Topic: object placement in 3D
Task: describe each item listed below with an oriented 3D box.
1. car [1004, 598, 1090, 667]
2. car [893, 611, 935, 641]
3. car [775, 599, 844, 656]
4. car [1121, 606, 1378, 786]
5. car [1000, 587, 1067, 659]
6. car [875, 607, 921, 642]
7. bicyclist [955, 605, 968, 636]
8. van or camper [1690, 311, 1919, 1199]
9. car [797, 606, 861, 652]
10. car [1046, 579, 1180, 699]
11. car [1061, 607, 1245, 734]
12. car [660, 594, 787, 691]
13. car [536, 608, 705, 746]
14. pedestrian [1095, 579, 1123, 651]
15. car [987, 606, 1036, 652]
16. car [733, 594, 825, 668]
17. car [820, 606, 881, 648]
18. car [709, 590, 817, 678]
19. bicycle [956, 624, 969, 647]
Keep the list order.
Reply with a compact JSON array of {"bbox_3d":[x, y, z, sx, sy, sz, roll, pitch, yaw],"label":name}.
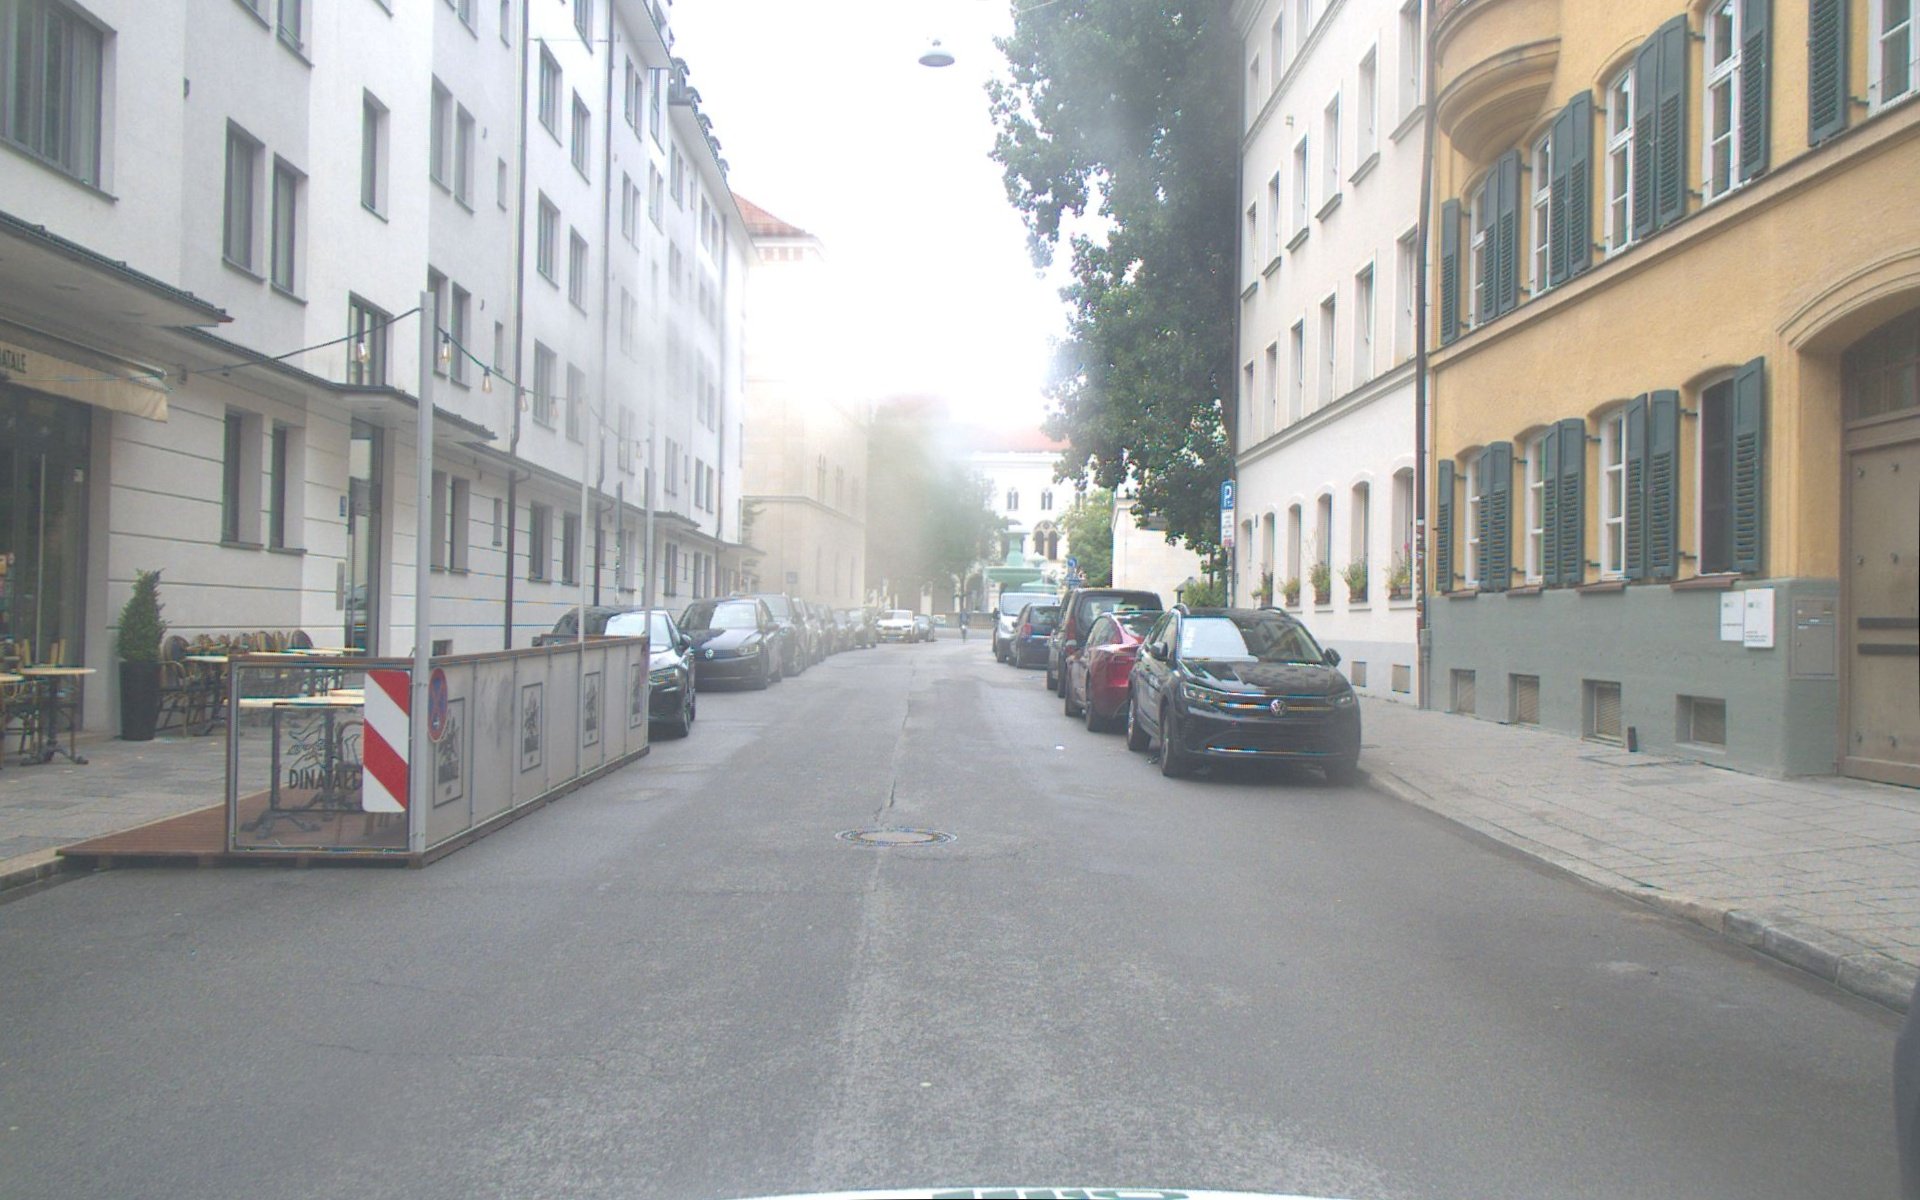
[{"bbox_3d":[2.176,0.803,42.298,1.771,1.628,4.213,2,0,-3],"label":"car"},{"bbox_3d":[-2.300,1.331,83.864,1.662,1.417,4.213,-1,-1,5],"label":"car"},{"bbox_3d":[-4.694,0.826,52.032,1.834,1.687,4.079,-1,0,-1],"label":"car"},{"bbox_3d":[2.635,0.814,15.930,1.710,1.489,3.999,1,0,-1],"label":"car"},{"bbox_3d":[2.091,0.654,48.216,1.843,1.958,4.875,1,0,1],"label":"car"},{"bbox_3d":[-2.878,1.159,77.496,1.741,1.562,4.213,-1,-1,3],"label":"car"},{"bbox_3d":[0.096,1.082,87.207,0.643,1.578,0.887,0,-1,2],"label":"bicyclist"},{"bbox_3d":[2.884,0.471,1.554,1.953,2.049,5.231,0,0,-2],"label":"van or camper"},{"bbox_3d":[-4.524,0.971,57.464,1.714,1.479,4.016,-1,0,2],"label":"car"},{"bbox_3d":[2.527,0.649,28.256,1.809,1.807,4.200,3,-1,0],"label":"car"},{"bbox_3d":[2.368,0.833,21.330,1.679,1.449,4.455,1,-1,-2],"label":"car"},{"bbox_3d":[-4.105,0.691,29.290,1.737,1.566,4.158,-1,0,-2],"label":"car"},{"bbox_3d":[-3.852,0.808,19.300,1.608,1.378,4.052,-1,0,-7],"label":"car"},{"bbox_3d":[4.726,0.466,52.515,0.777,2.236,0.813,1,0,-1],"label":"pedestrian"},{"bbox_3d":[1.939,1.089,61.808,1.711,1.621,3.957,1,-1,2],"label":"car"},{"bbox_3d":[-4.377,0.706,40.509,1.834,1.687,4.589,-1,0,-2],"label":"car"},{"bbox_3d":[-4.074,0.977,62.223,1.713,1.479,4.018,-1,0,5],"label":"car"},{"bbox_3d":[-4.088,0.655,35.020,1.834,1.717,4.519,-1,0,-2],"label":"car"},{"bbox_3d":[0.134,1.866,87.103,0.635,1.218,1.950,0,-1,1],"label":"bicycle"}]
